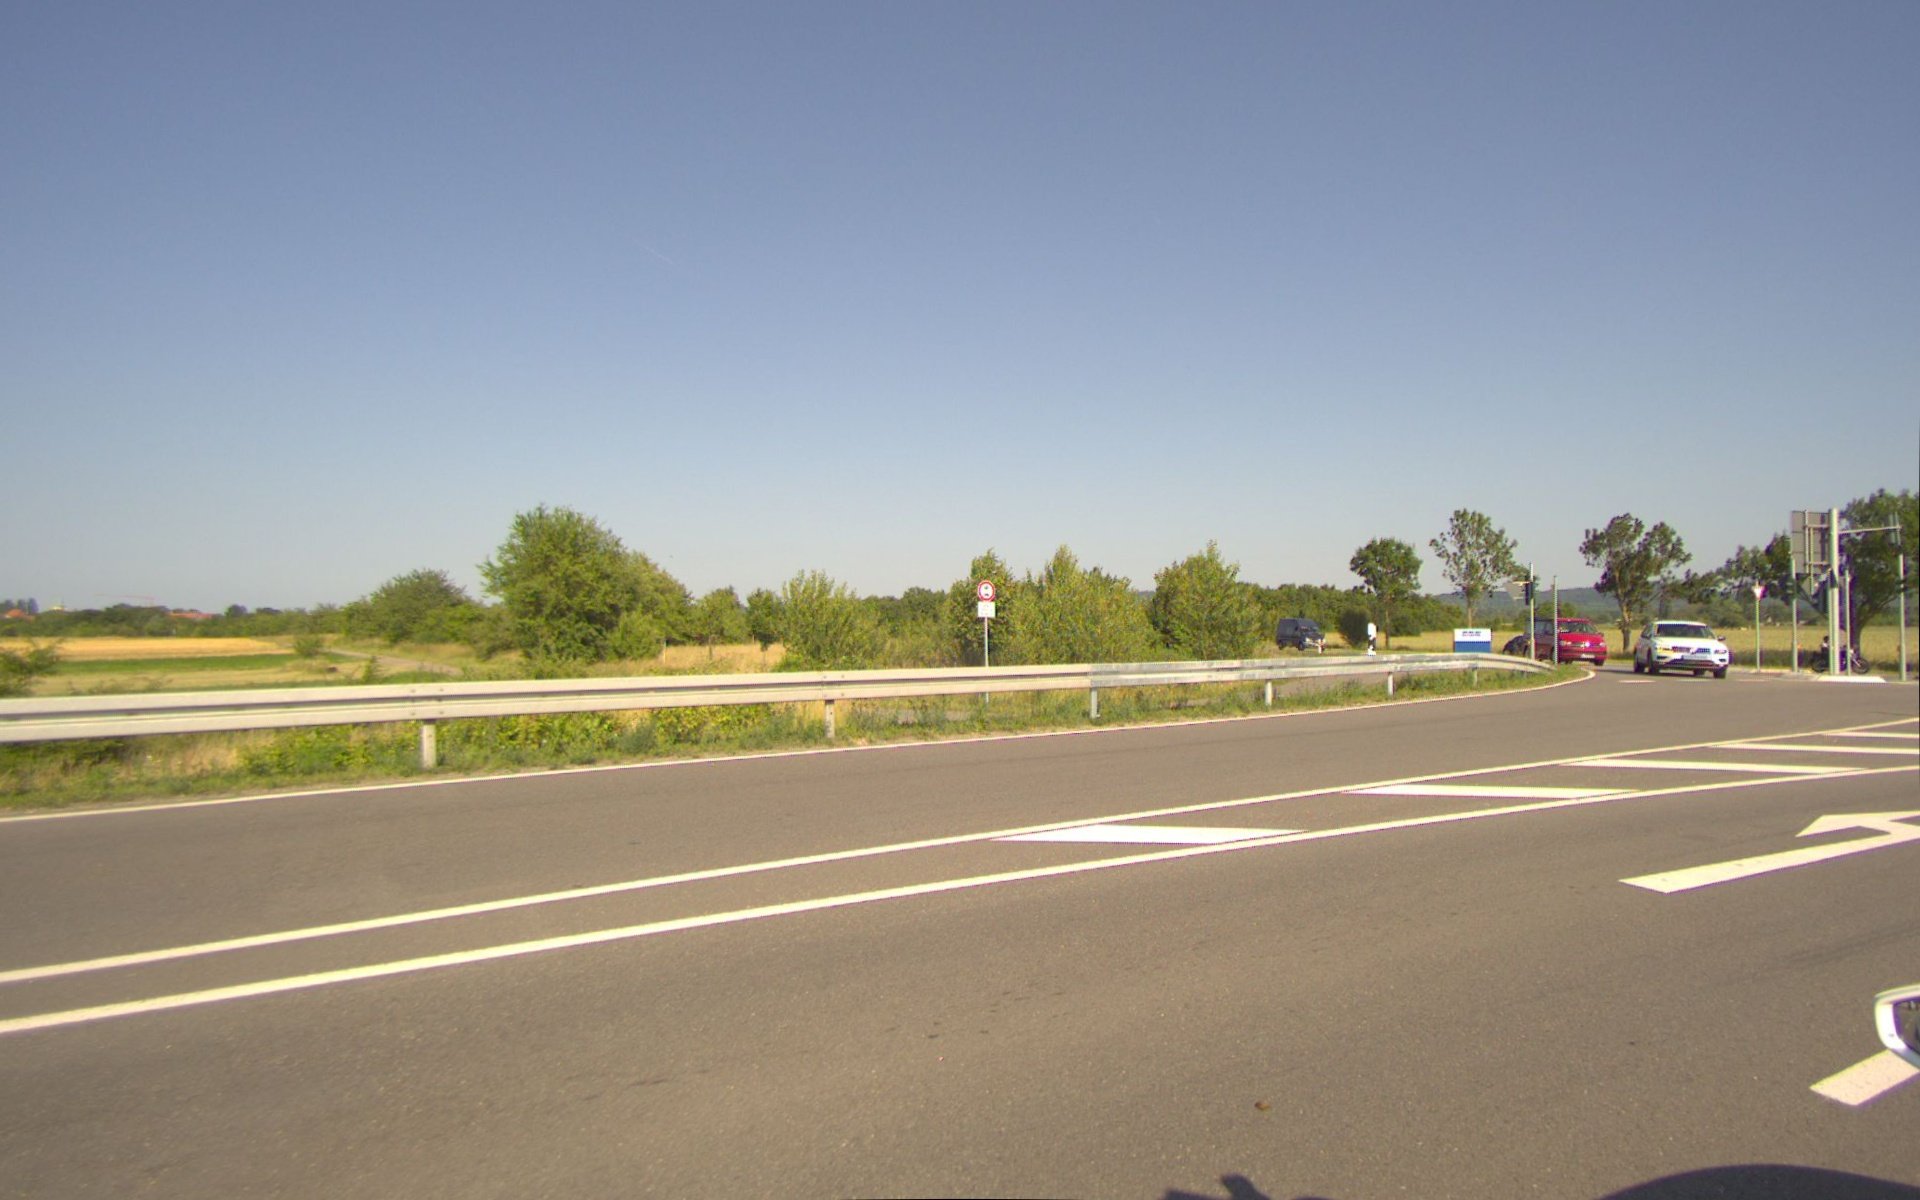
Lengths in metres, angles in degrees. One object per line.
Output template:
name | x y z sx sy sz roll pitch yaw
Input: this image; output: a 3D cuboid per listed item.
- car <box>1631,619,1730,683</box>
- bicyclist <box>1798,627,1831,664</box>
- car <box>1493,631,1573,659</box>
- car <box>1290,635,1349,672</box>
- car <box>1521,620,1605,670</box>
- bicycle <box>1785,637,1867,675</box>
car | 21.550 1.554 30.225 1.666 1.695 4.859 2 -3 27
bicyclist | 35.852 1.910 42.145 0.747 1.509 0.806 2 0 -25
car | 31.672 2.452 55.639 1.699 1.476 3.730 0 -2 -14
car | 27.806 4.113 77.928 1.996 2.657 5.744 0 -1 -7
car | 26.075 1.900 43.606 1.802 1.966 4.928 -1 0 15
bicycle | 36.014 2.315 41.830 0.722 1.415 2.484 2 0 -25
